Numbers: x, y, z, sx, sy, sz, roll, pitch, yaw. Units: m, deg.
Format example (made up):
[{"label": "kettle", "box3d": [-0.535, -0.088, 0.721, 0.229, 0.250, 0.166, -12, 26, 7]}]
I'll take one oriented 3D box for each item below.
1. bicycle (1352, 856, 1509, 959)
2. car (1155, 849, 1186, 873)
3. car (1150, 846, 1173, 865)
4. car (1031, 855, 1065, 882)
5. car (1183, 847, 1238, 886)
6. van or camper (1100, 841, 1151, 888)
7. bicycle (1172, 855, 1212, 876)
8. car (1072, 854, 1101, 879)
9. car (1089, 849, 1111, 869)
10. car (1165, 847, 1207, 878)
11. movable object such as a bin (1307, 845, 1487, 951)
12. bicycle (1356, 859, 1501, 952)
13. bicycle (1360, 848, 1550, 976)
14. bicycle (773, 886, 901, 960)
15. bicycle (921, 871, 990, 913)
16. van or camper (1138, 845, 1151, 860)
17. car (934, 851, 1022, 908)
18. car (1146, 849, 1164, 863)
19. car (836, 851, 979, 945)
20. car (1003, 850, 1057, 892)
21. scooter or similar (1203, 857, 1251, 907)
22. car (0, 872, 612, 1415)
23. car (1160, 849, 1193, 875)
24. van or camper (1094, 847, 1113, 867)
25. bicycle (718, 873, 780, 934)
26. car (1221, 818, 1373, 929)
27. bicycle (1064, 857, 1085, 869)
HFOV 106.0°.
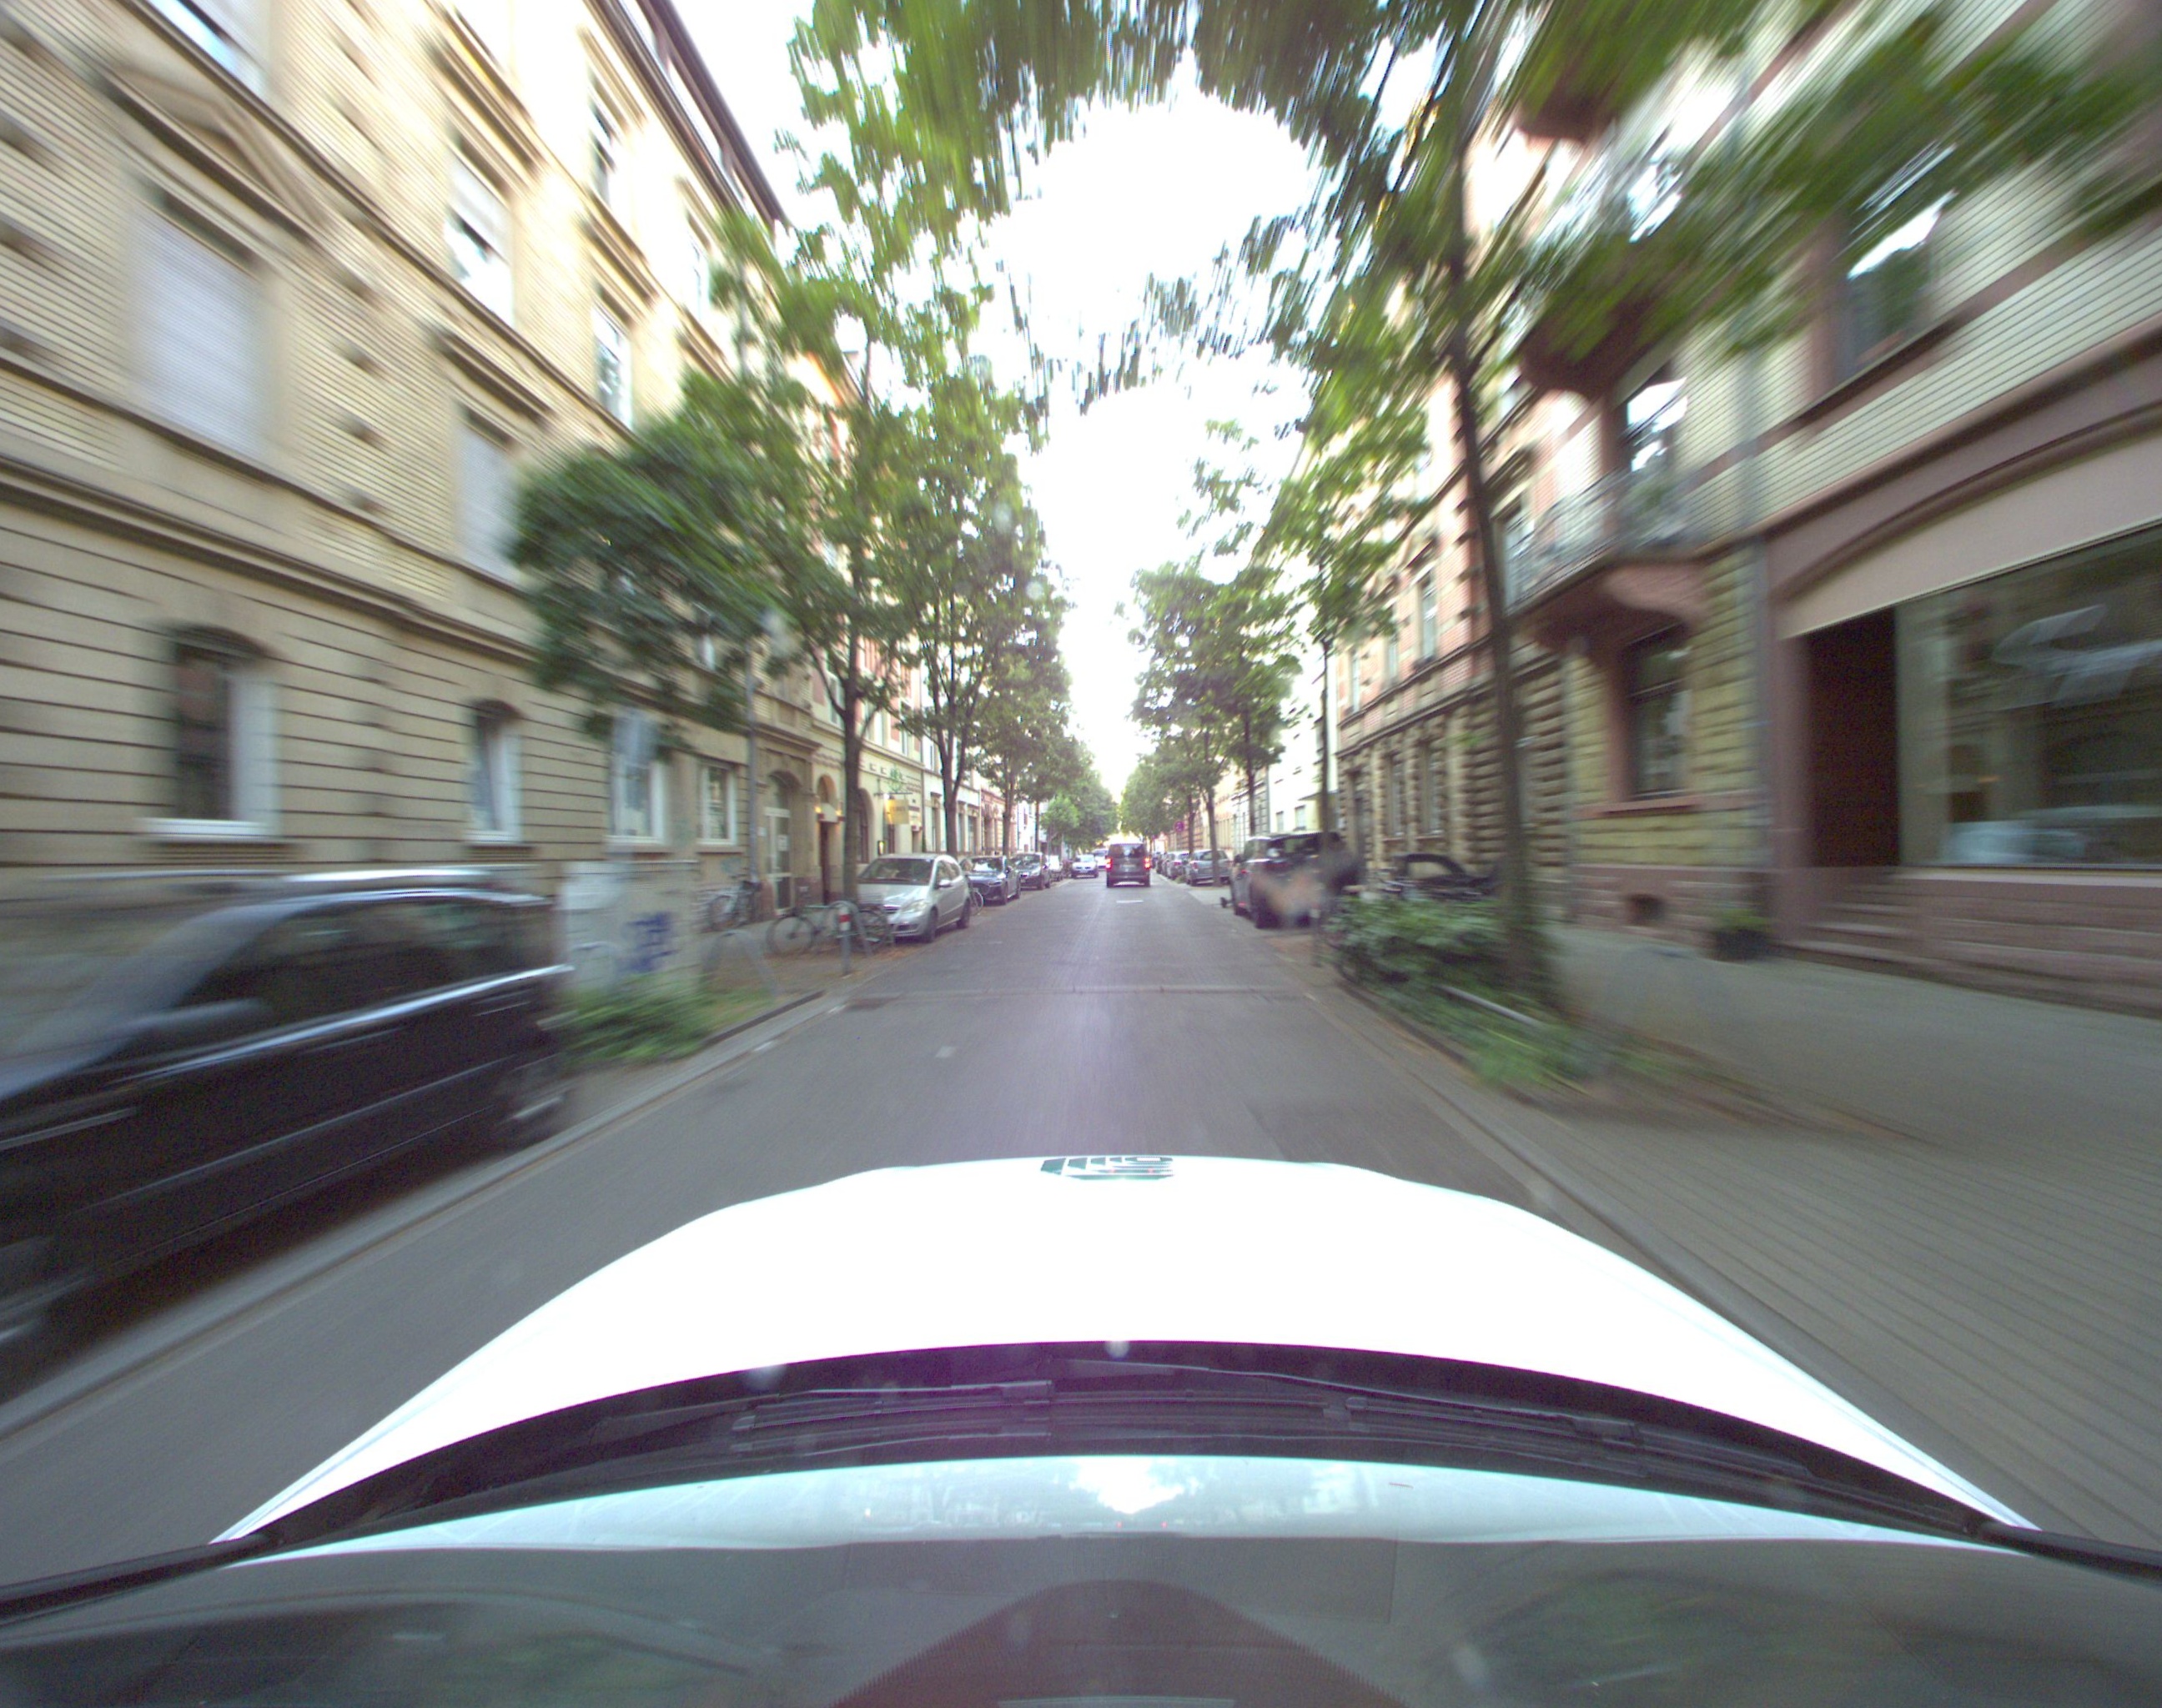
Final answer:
[{"label": "bicycle", "box3d": [4.360, 0.659, 10.242, 1.688, 1.198, 0.583, -2, 0, 6]}, {"label": "car", "box3d": [5.928, 0.431, 54.125, 1.759, 1.415, 4.478, -4, 0, 4]}, {"label": "car", "box3d": [6.784, 0.104, 69.034, 1.622, 1.466, 4.247, -2, 0, 1]}, {"label": "car", "box3d": [-1.839, 0.787, 46.228, 1.581, 1.437, 3.569, 0, 0, 3]}, {"label": "car", "box3d": [5.387, 0.461, 34.321, 1.751, 1.463, 4.311, -2, 0, 3]}, {"label": "van or camper", "box3d": [2.028, 0.446, 35.841, 2.025, 1.897, 4.277, -2, 0, 5]}, {"label": "bicycle", "box3d": [5.531, 0.557, 40.583, 1.921, 0.982, 0.634, -2, 0, -19]}, {"label": "car", "box3d": [0.350, 0.747, 50.506, 1.573, 1.420, 3.756, -2, 0, 3]}, {"label": "car", "box3d": [1.576, 0.388, 67.777, 1.658, 1.563, 4.000, -2, 0, 0]}, {"label": "car", "box3d": [5.553, 0.439, 43.487, 1.710, 1.476, 4.369, -3, 0, 1]}, {"label": "movable object such as a bin", "box3d": [4.499, 0.612, 11.735, 2.205, 1.305, 0.772, -5, 0, 5]}, {"label": "bicycle", "box3d": [4.598, 0.674, 10.858, 1.649, 1.143, 0.583, -2, 0, 6]}, {"label": "bicycle", "box3d": [4.278, 0.646, 9.427, 1.754, 1.294, 0.802, -4, 0, 2]}, {"label": "bicycle", "box3d": [-3.802, 1.054, 12.775, 1.868, 1.060, 0.593, 0, 0, -16]}, {"label": "bicycle", "box3d": [-3.199, 0.970, 20.828, 1.676, 1.003, 0.430, 1, 0, 4]}, {"label": "van or camper", "box3d": [11.276, -0.217, 145.640, 1.986, 2.599, 5.427, -2, 0, 2]}, {"label": "car", "box3d": [-2.975, 0.688, 24.473, 1.798, 1.518, 4.689, 0, 0, 3]}, {"label": "car", "box3d": [7.799, 0.199, 86.431, 1.687, 1.401, 4.649, -3, 0, 3]}, {"label": "car", "box3d": [-3.279, 0.770, 16.165, 1.668, 1.607, 3.867, -1, 0, 5]}, {"label": "car", "box3d": [-2.049, 0.660, 33.836, 1.699, 1.580, 4.082, 0, 1, 4]}, {"label": "scooter or similar", "box3d": [3.792, 0.726, 21.136, 0.667, 1.190, 1.123, -5, -1, 42]}, {"label": "car", "box3d": [-3.831, 0.875, 3.412, 1.513, 1.501, 3.564, 0, 0, 3]}, {"label": "car", "box3d": [5.750, 0.456, 49.098, 1.629, 1.424, 3.566, -3, 0, 2]}, {"label": "van or camper", "box3d": [2.299, 0.268, 83.035, 1.870, 1.843, 4.754, -2, 0, 1]}, {"label": "bicycle", "box3d": [-6.706, 0.971, 16.510, 0.459, 1.089, 1.631, 1, 1, 4]}, {"label": "car", "box3d": [4.250, 0.329, 16.880, 2.005, 1.833, 4.815, -4, 0, 3]}, {"label": "bicycle", "box3d": [-0.491, 0.747, 66.335, 1.708, 0.907, 0.380, -1, 0, -27]}]
